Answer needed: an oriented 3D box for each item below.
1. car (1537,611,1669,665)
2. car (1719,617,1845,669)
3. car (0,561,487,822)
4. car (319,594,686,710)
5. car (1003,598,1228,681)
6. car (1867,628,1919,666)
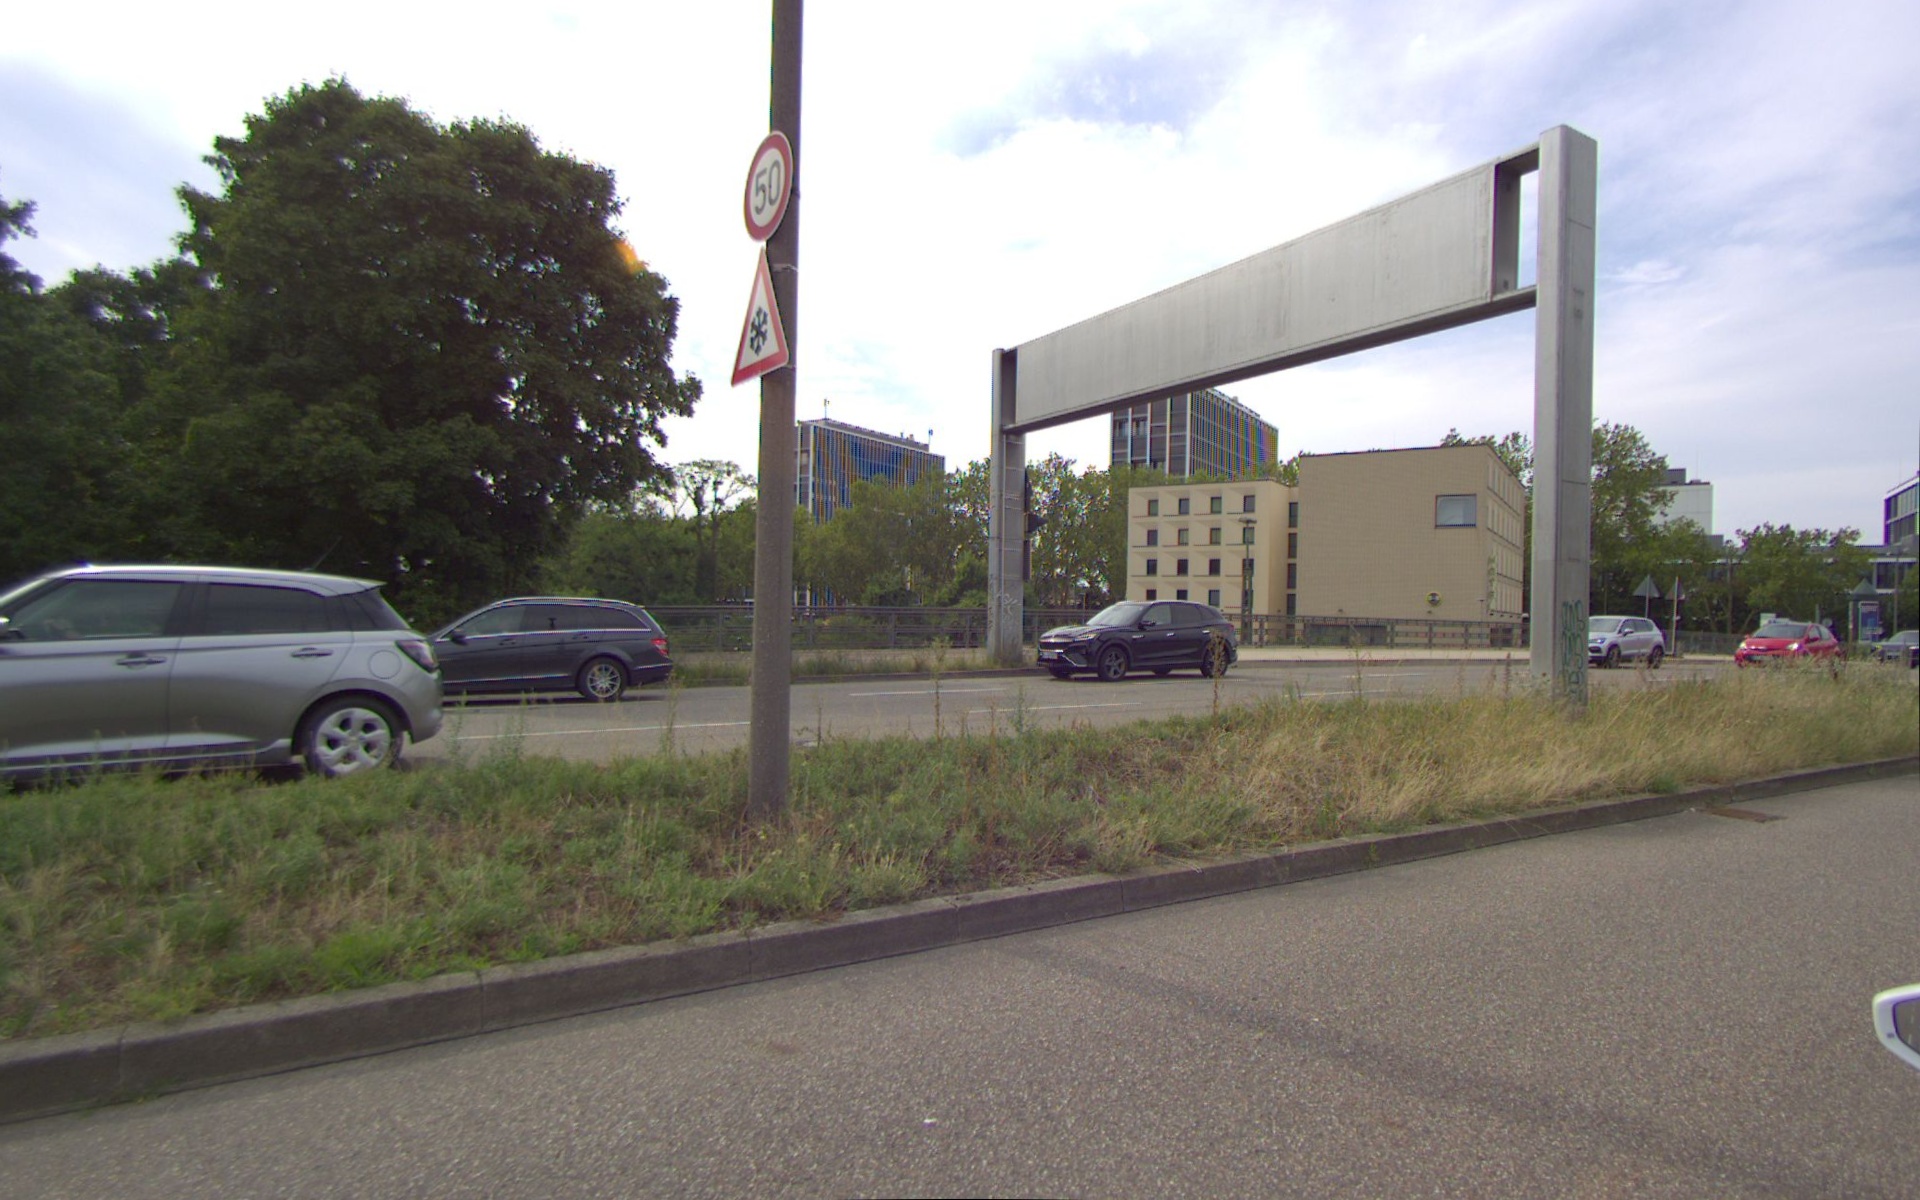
[{"bbox_3d":[19.675,1.154,30.703,4.141,1.545,1.783,2,-2,-32],"label":"car"},{"bbox_3d":[24.476,1.271,29.888,3.755,1.460,1.783,2,-2,-32],"label":"car"},{"bbox_3d":[-5.448,0.529,6.875,3.819,1.506,1.684,1,0,-33],"label":"car"},{"bbox_3d":[-6.285,0.711,14.204,4.457,1.444,1.661,1,-2,-25],"label":"car"},{"bbox_3d":[3.251,0.815,20.664,4.542,1.545,1.783,2,-2,-32],"label":"car"},{"bbox_3d":[40.611,1.977,42.768,4.141,1.545,1.912,2,-2,-32],"label":"car"}]
